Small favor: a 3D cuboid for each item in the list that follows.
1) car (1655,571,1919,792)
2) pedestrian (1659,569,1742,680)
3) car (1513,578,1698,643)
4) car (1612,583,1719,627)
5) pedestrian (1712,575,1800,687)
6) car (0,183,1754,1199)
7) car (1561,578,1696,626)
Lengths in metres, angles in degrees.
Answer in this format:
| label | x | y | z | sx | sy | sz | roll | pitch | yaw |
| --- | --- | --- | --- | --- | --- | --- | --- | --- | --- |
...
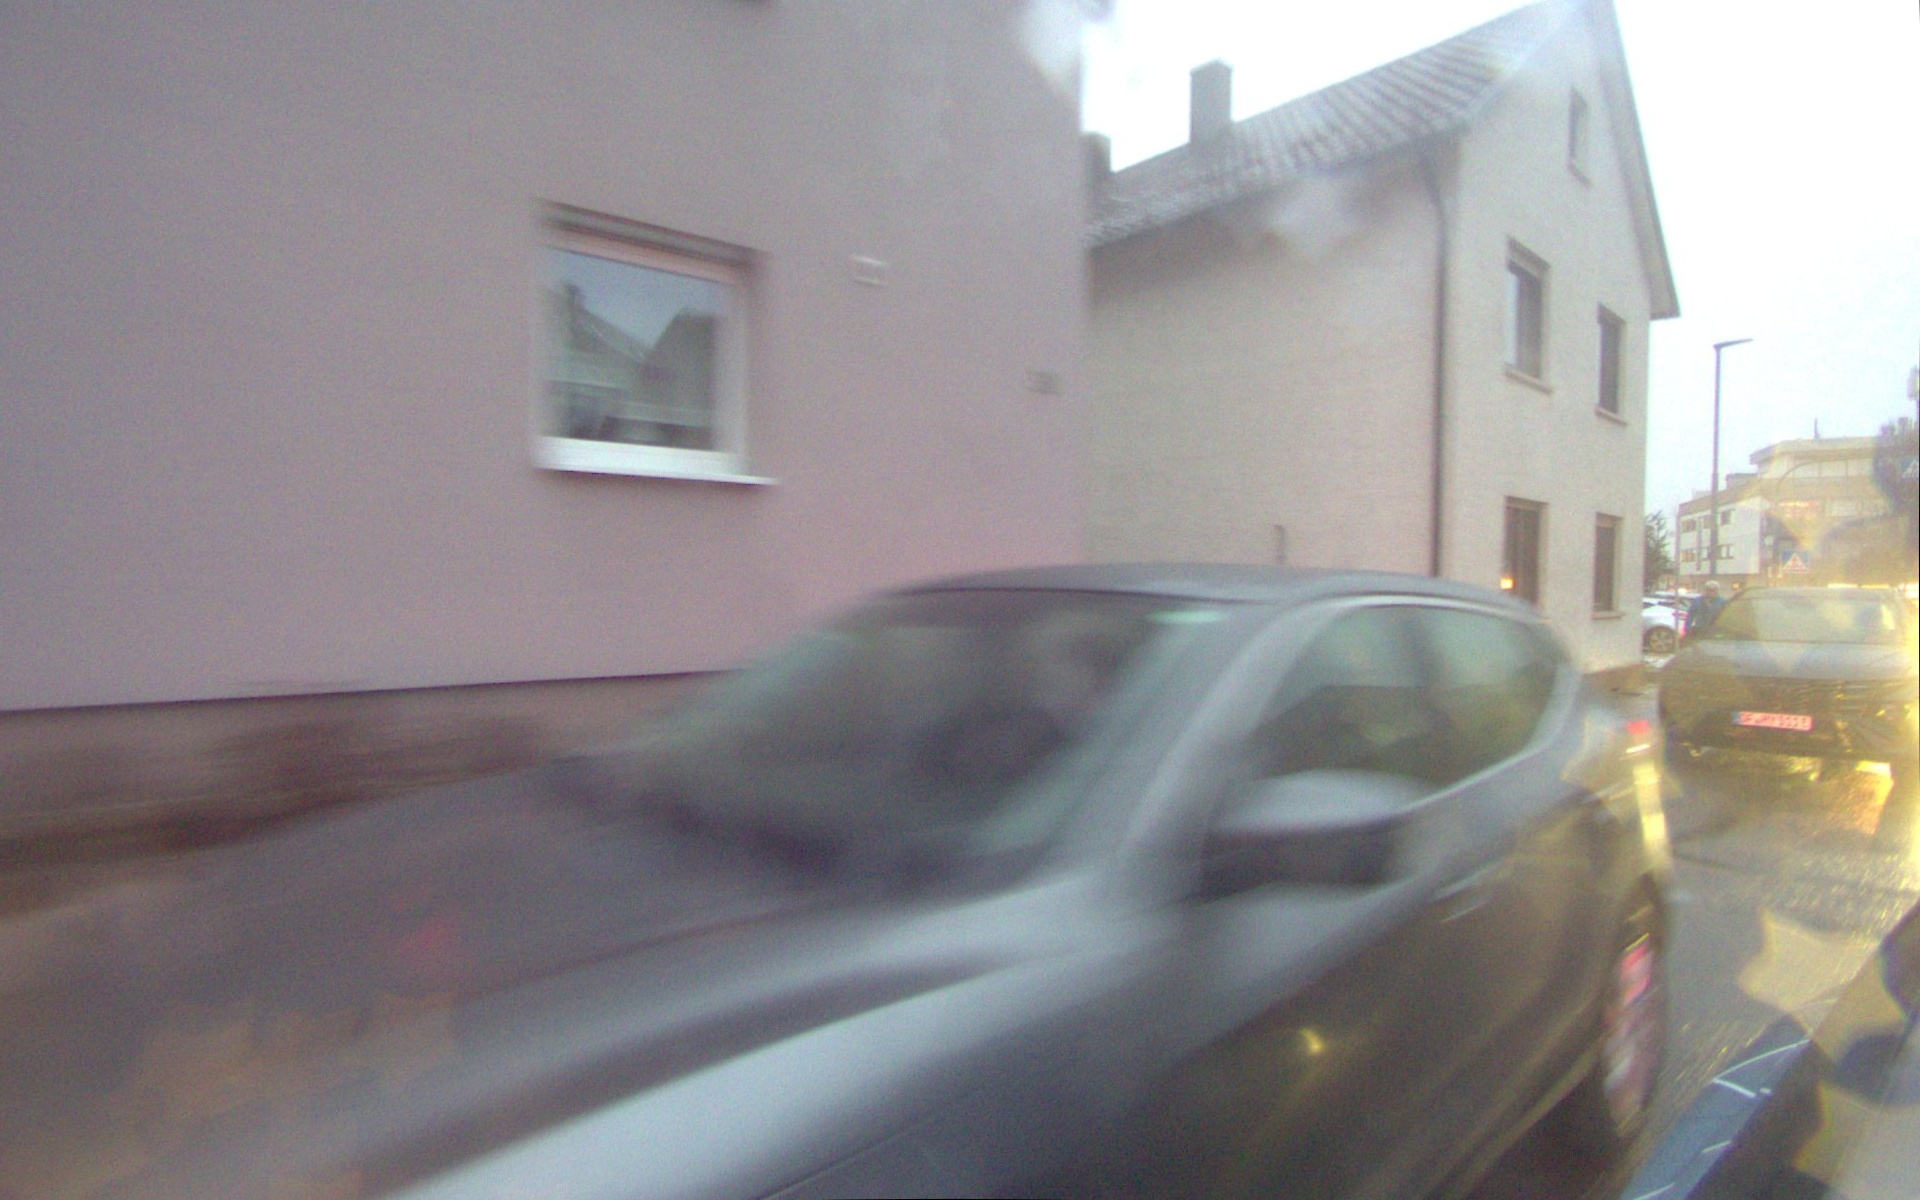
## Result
| label | x | y | z | sx | sy | sz | roll | pitch | yaw |
| --- | --- | --- | --- | --- | --- | --- | --- | --- | --- |
| car | 8.243 | 0.601 | 9.629 | 4.263 | 1.658 | 1.849 | 0 | 0 | -43 |
| pedestrian | 12.363 | 0.387 | 16.888 | 0.955 | 1.754 | 0.850 | 1 | 3 | -42 |
| car | 17.143 | 0.218 | 26.981 | 3.900 | 1.492 | 1.724 | 3 | 2 | 43 |
| car | 33.477 | 0.195 | 48.095 | 4.031 | 1.866 | 1.840 | 4 | 2 | 35 |
| pedestrian | 12.870 | 0.479 | 16.364 | 0.975 | 1.687 | 0.868 | 1 | 3 | -42 |
| car | 0.281 | 0.554 | 2.377 | 3.930 | 1.553 | 1.801 | 0 | 1 | -41 |
| car | 30.807 | 0.061 | 46.752 | 4.976 | 1.912 | 1.909 | 4 | 2 | 40 |
